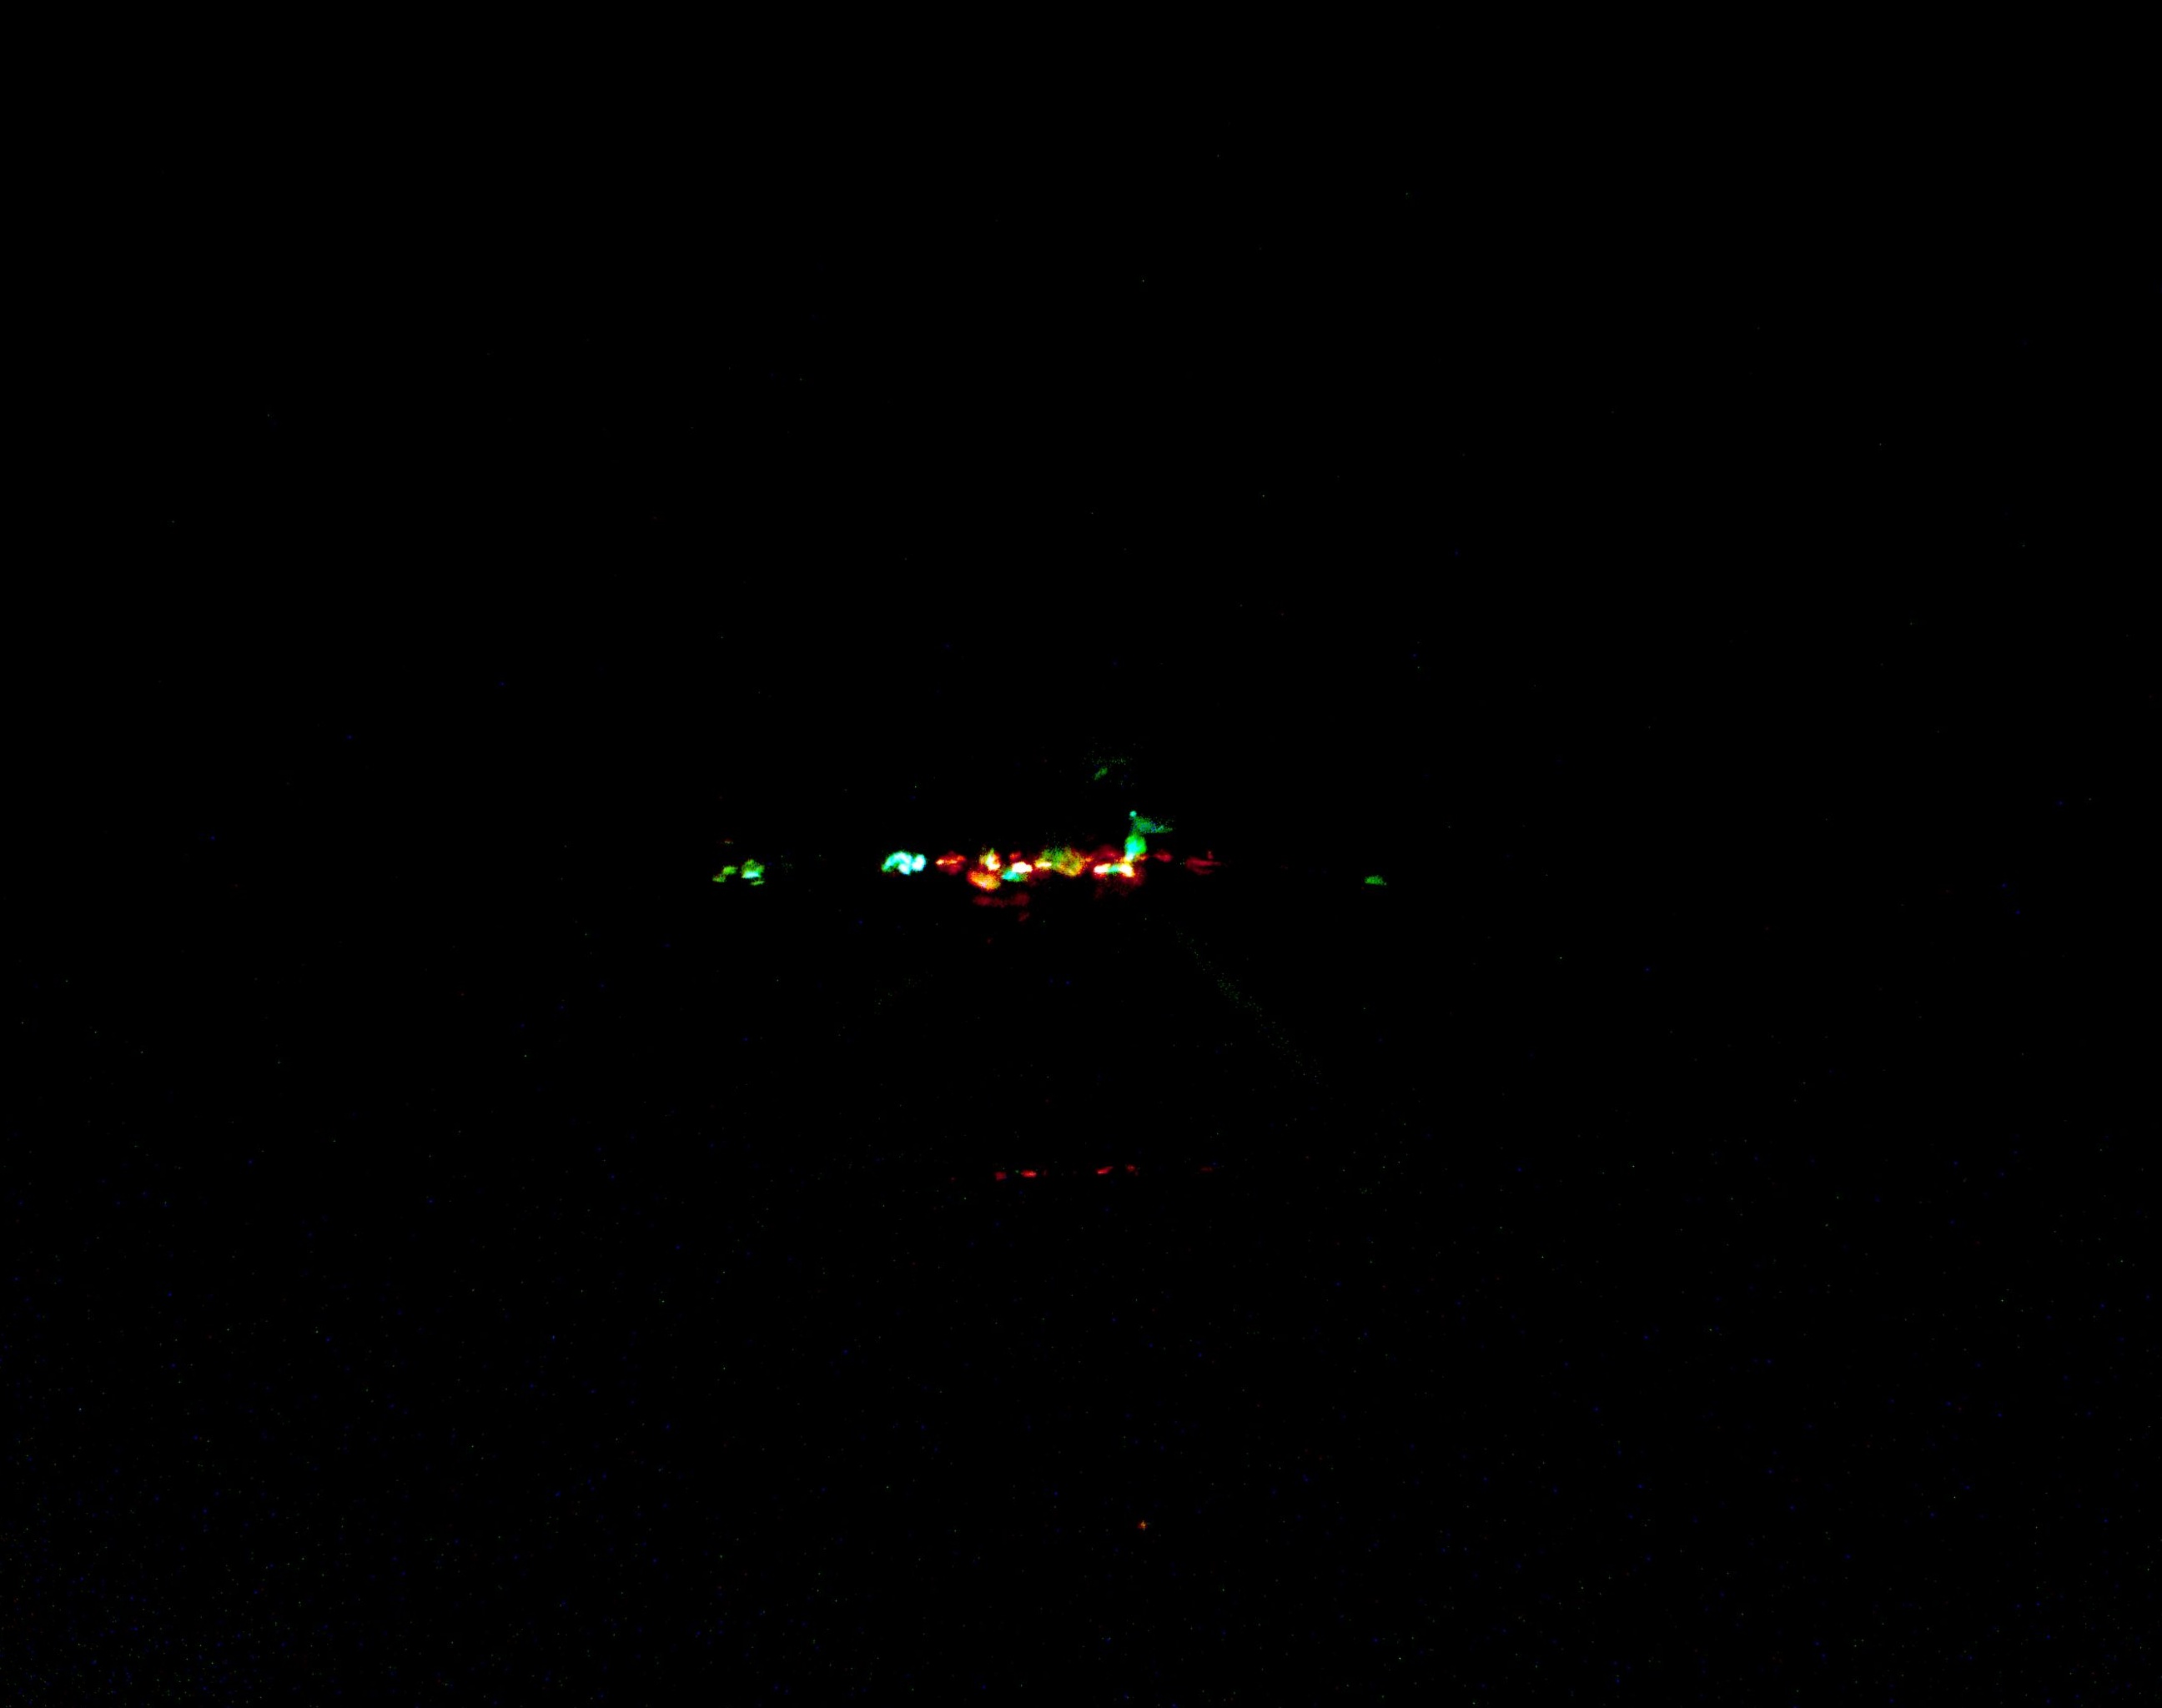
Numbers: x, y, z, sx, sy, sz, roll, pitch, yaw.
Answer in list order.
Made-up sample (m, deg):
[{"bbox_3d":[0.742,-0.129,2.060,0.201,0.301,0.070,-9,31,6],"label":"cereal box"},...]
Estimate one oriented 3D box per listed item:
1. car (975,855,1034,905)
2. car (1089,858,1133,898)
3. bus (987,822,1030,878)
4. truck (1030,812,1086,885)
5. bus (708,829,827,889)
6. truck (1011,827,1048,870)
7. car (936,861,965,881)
[{"bbox_3d":[-3.248,1.059,35.471,2.119,2.014,4.644,0,0,-1],"label":"car"},{"bbox_3d":[1.414,1.098,38.828,1.986,1.807,4.001,0,0,2],"label":"car"},{"bbox_3d":[-6.211,-0.292,71.365,3.088,4.508,10.905,0,0,-2],"label":"bus"},{"bbox_3d":[-1.754,-0.409,69.365,4.195,5.648,11.469,0,0,1],"label":"truck"},{"bbox_3d":[-26.033,0.422,69.277,3.063,4.490,17.019,0,0,2],"label":"bus"},{"bbox_3d":[-7.048,-0.705,113.435,4.195,5.648,11.469,0,0,1],"label":"truck"},{"bbox_3d":[-10.520,1.334,65.966,1.990,1.596,3.993,0,0,-5],"label":"car"}]
